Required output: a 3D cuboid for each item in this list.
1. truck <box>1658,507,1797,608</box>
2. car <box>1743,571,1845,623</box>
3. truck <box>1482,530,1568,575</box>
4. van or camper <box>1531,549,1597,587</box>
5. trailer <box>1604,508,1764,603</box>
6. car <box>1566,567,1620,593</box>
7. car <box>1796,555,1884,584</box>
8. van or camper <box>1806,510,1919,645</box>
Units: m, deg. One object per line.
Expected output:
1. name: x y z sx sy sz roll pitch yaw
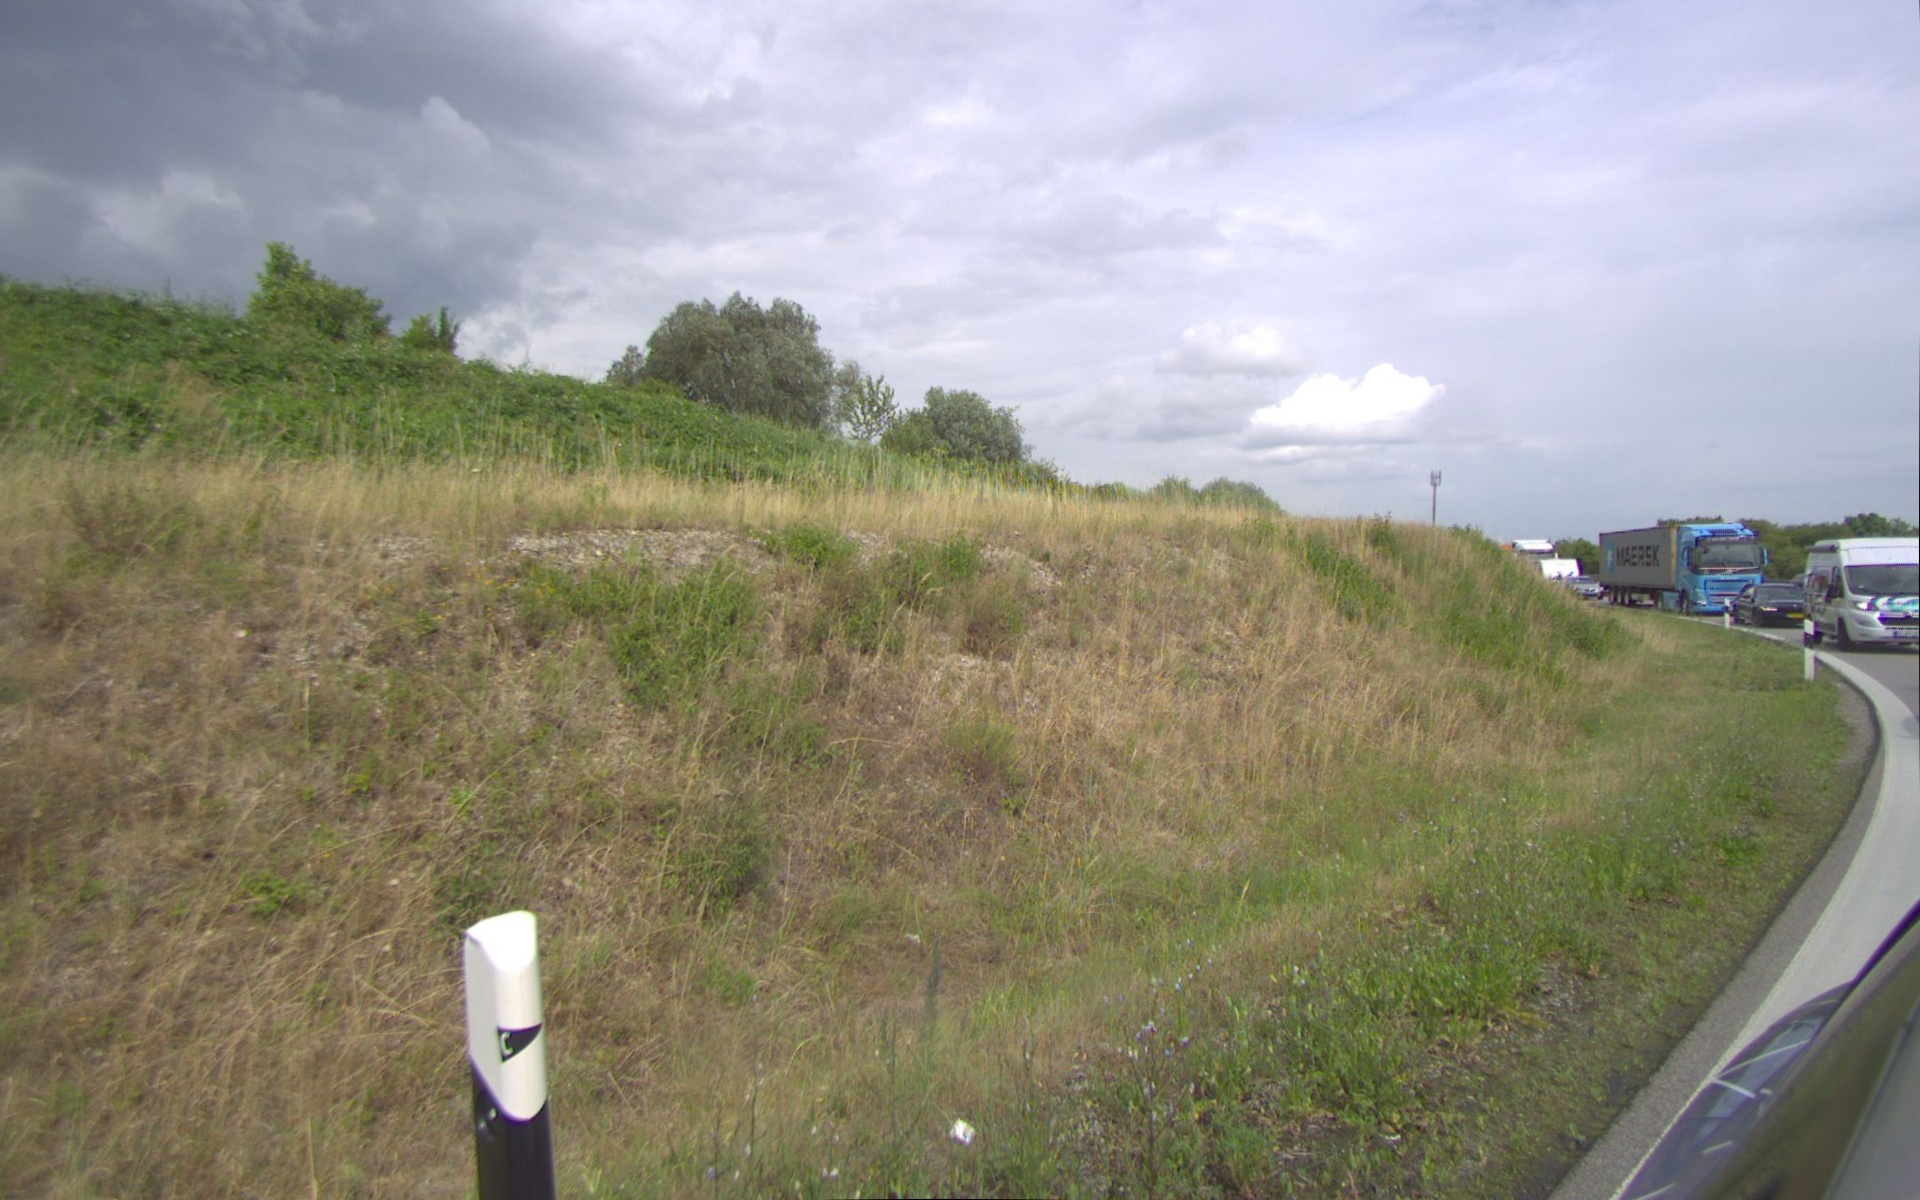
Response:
1. truck: 33.667 -1.755 44.736 3.142 4.124 6.600 0 0 21
2. car: 28.601 -0.168 34.845 1.983 1.638 3.960 1 2 29
3. truck: 44.129 -3.592 79.519 3.080 3.279 11.113 0 2 14
4. van or camper: 40.771 -2.203 68.442 2.519 2.237 5.684 -1 4 17
5. trailer: 36.047 -2.053 51.081 3.234 4.214 11.943 0 0 19
6. car: 39.073 -1.253 62.541 1.974 1.548 3.977 0 2 19
7. car: 52.960 -1.858 61.031 1.970 1.618 4.711 1 2 13
8. van or camper: 22.599 -0.529 24.428 2.379 2.945 5.659 0 0 30
